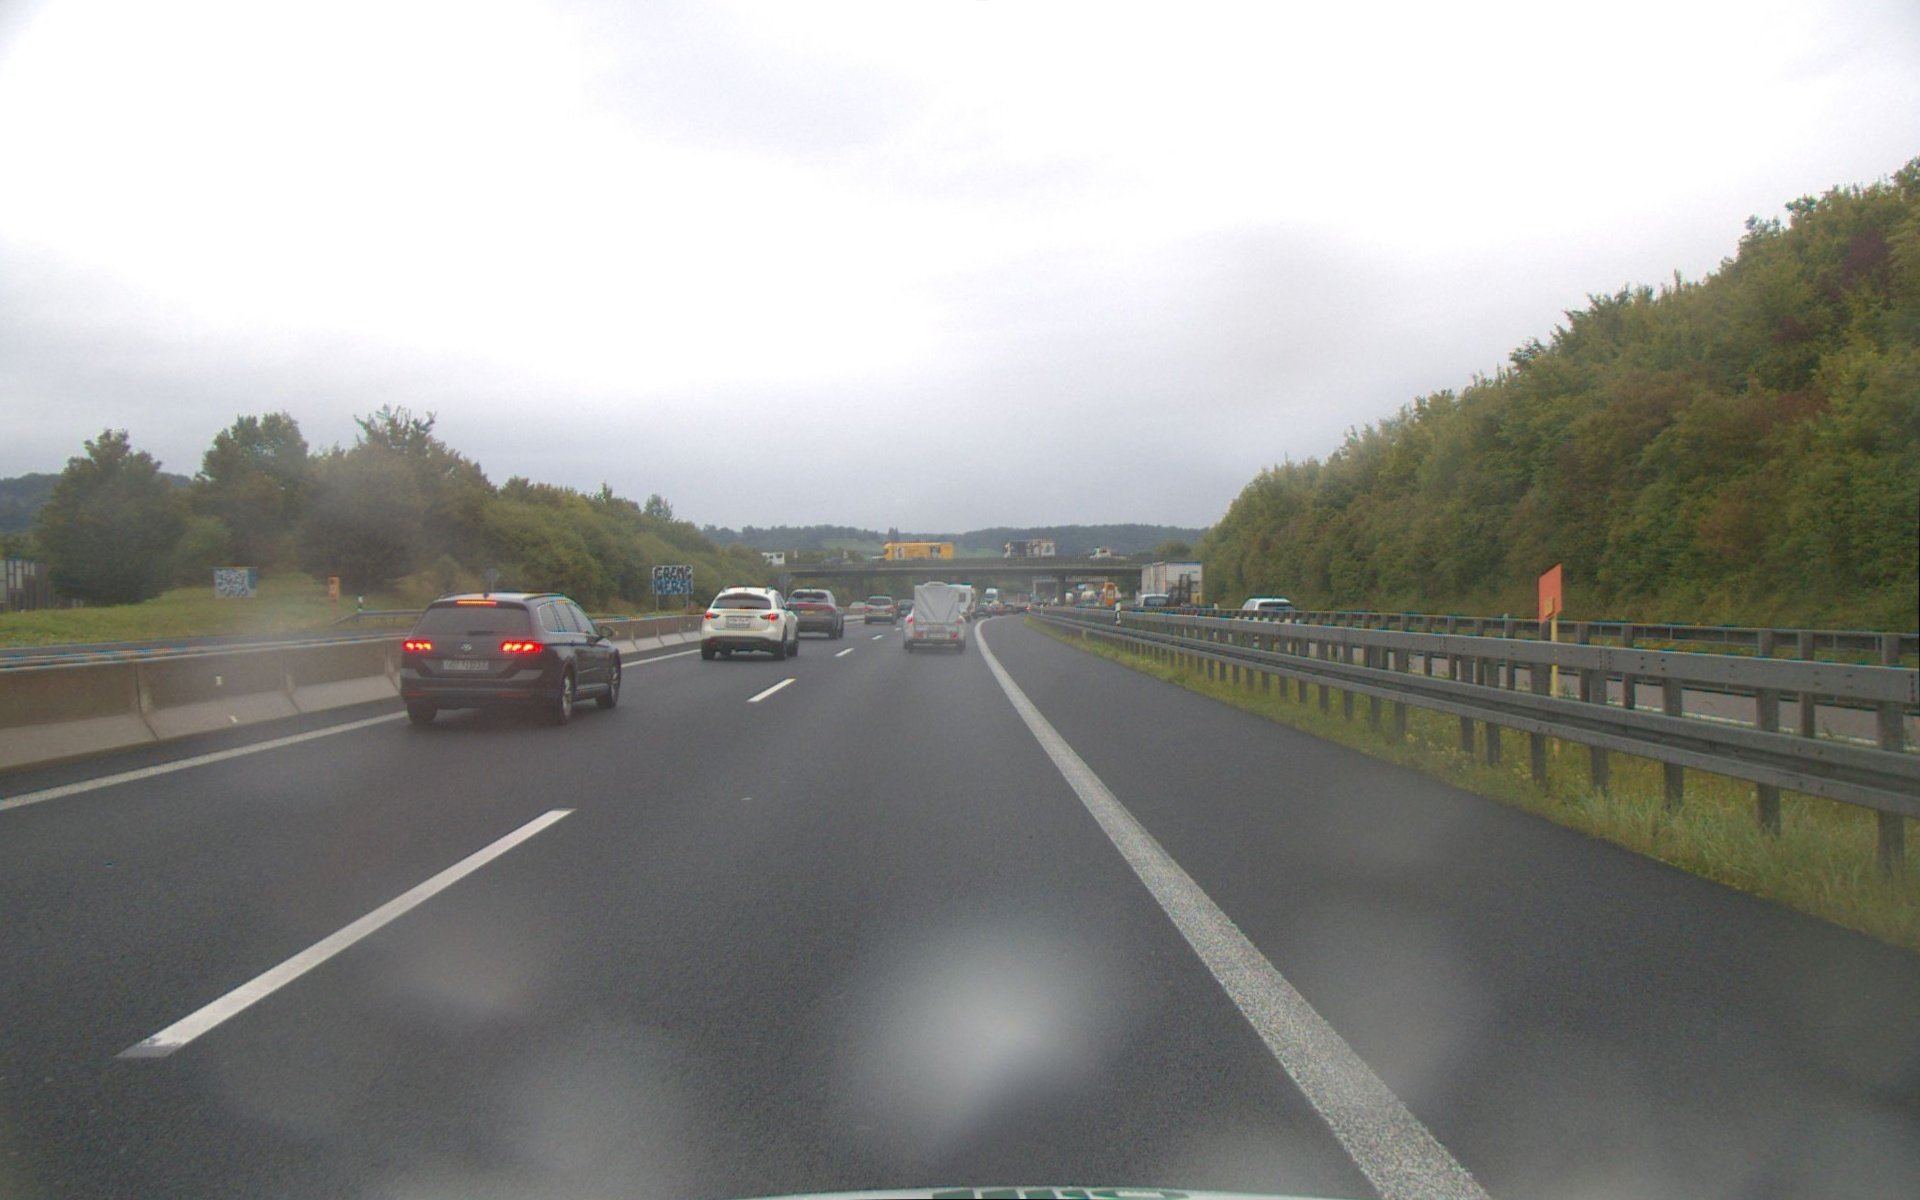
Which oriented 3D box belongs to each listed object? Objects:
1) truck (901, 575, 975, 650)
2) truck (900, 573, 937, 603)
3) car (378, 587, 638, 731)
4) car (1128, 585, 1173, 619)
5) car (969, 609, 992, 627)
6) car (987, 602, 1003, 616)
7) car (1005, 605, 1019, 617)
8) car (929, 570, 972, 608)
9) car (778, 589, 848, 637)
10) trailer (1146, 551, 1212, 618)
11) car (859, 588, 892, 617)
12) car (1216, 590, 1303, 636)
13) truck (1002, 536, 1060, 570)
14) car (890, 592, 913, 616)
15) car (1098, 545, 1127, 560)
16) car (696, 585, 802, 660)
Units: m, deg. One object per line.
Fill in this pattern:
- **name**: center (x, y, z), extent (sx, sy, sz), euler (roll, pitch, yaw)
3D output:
- **truck**: center (-0.585, 0.309, 47.964), extent (1.977, 2.020, 7.213), euler (0, 0, 0)
- **truck**: center (-5.066, -1.474, 204.245), extent (3.688, 3.616, 13.190), euler (0, 0, 2)
- **car**: center (-5.241, 0.636, 19.883), extent (1.862, 1.523, 4.850), euler (0, 0, -1)
- **car**: center (10.621, 0.095, 92.353), extent (1.822, 1.837, 4.646), euler (0, 0, -2)
- **car**: center (2.064, 1.817, 166.907), extent (1.954, 1.780, 3.997), euler (1, 0, -4)
- **car**: center (4.495, 1.127, 213.350), extent (1.953, 1.780, 4.000), euler (1, 0, 0)
- **car**: center (7.505, 1.618, 240.855), extent (1.952, 1.780, 4.001), euler (1, 0, 1)
- **car**: center (-0.669, -0.793, 118.342), extent (2.954, 2.662, 6.075), euler (0, 1, 1)
- **car**: center (-5.173, 0.440, 58.785), extent (2.130, 1.660, 4.500), euler (0, 0, -1)
- **trailer**: center (14.838, -1.036, 112.786), extent (3.366, 4.364, 10.456), euler (0, 0, 1)
- **car**: center (-4.899, 0.132, 96.602), extent (1.862, 1.641, 4.015), euler (0, 0, -2)
- **car**: center (10.618, 0.431, 58.957), extent (1.968, 1.575, 4.692), euler (0, 0, -4)
- **truck**: center (10.633, -7.073, 249.972), extent (3.732, 4.920, 9.929), euler (0, 0, -33)
- **car**: center (-4.619, 0.279, 130.030), extent (1.805, 1.851, 3.998), euler (0, 0, -2)
- **car**: center (21.555, -6.683, 233.409), extent (1.825, 1.948, 3.944), euler (1, 0, -39)
- **car**: center (-4.907, 0.488, 39.075), extent (1.936, 1.668, 4.500), euler (0, 0, 0)
